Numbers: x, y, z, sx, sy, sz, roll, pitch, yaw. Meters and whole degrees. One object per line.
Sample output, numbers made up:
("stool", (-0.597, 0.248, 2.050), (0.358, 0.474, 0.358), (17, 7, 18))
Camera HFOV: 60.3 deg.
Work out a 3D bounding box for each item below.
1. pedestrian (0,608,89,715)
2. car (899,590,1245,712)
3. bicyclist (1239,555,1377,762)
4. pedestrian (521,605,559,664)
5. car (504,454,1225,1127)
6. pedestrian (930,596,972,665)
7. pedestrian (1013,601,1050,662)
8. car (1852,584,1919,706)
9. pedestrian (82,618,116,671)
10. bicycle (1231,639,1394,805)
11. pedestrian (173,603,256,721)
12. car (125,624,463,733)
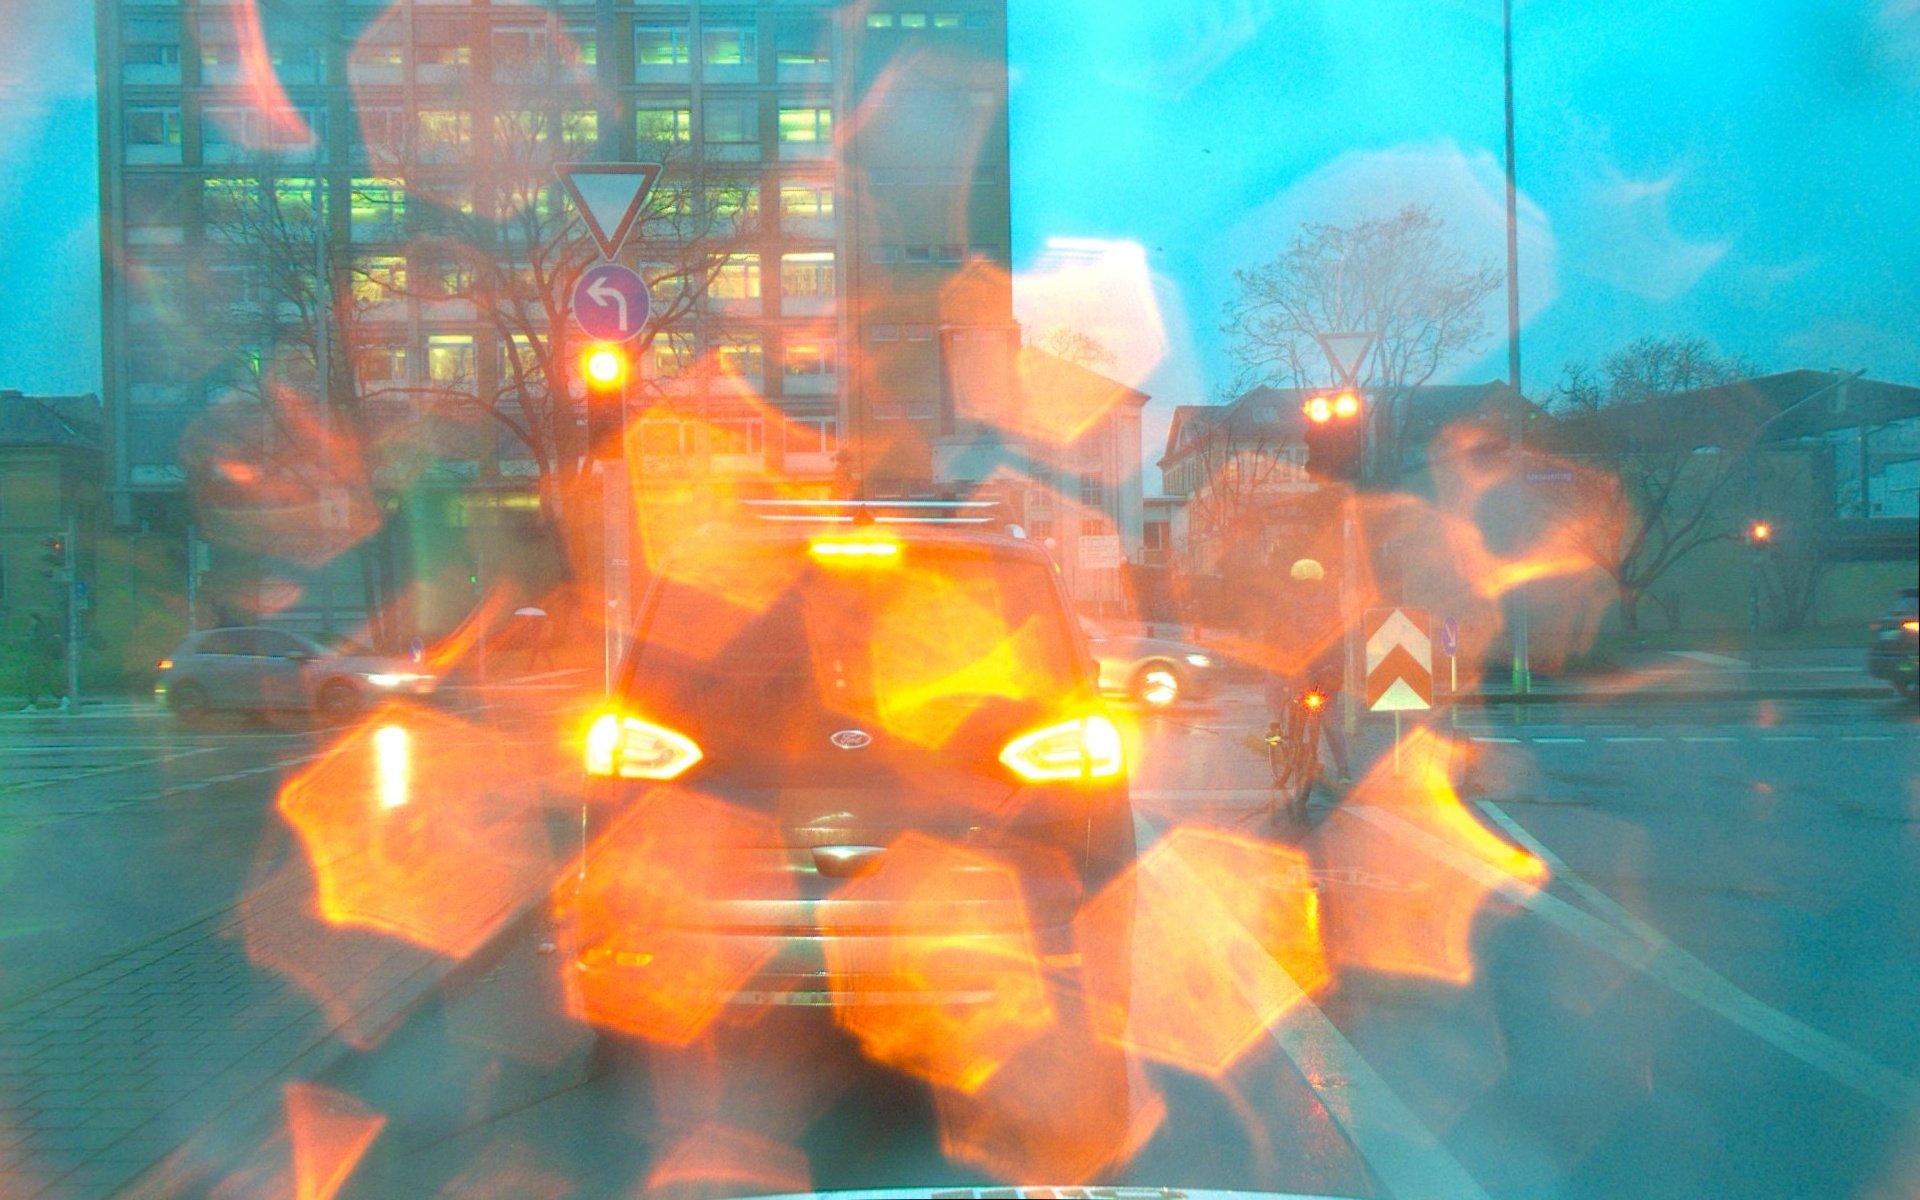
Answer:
("pedestrian", (-17.200, 1.139, 30.973), (0.983, 1.874, 1.136), (-1, 3, 33))
("car", (1.601, 0.698, 22.891), (4.556, 1.503, 1.813), (-2, -1, 10))
("bicyclist", (2.597, 0.421, 12.464), (0.767, 1.478, 1.133), (1, 0, -1))
("pedestrian", (-12.088, 0.987, 47.596), (0.744, 1.656, 0.722), (-2, 0, 19))
("car", (-0.285, 0.536, 6.548), (1.953, 1.821, 3.999), (1, 0, -1))
("pedestrian", (-0.234, 0.820, 45.138), (0.975, 1.831, 0.920), (-2, 0, 8))
("pedestrian", (1.903, 0.825, 44.016), (0.905, 1.559, 1.043), (-2, 0, 4))
("car", (13.805, 0.501, 21.069), (3.871, 1.503, 1.812), (-2, -1, 6))
("pedestrian", (-27.638, 1.436, 53.114), (0.743, 1.656, 0.558), (-2, 0, 14))
("bicycle", (2.591, 0.862, 12.379), (0.767, 1.094, 1.956), (1, 0, -1))
("pedestrian", (-13.119, 1.079, 29.129), (0.908, 2.013, 0.960), (-2, 0, 5))
("car", (-10.197, 1.192, 25.426), (4.556, 1.503, 1.813), (-2, -1, 12))
